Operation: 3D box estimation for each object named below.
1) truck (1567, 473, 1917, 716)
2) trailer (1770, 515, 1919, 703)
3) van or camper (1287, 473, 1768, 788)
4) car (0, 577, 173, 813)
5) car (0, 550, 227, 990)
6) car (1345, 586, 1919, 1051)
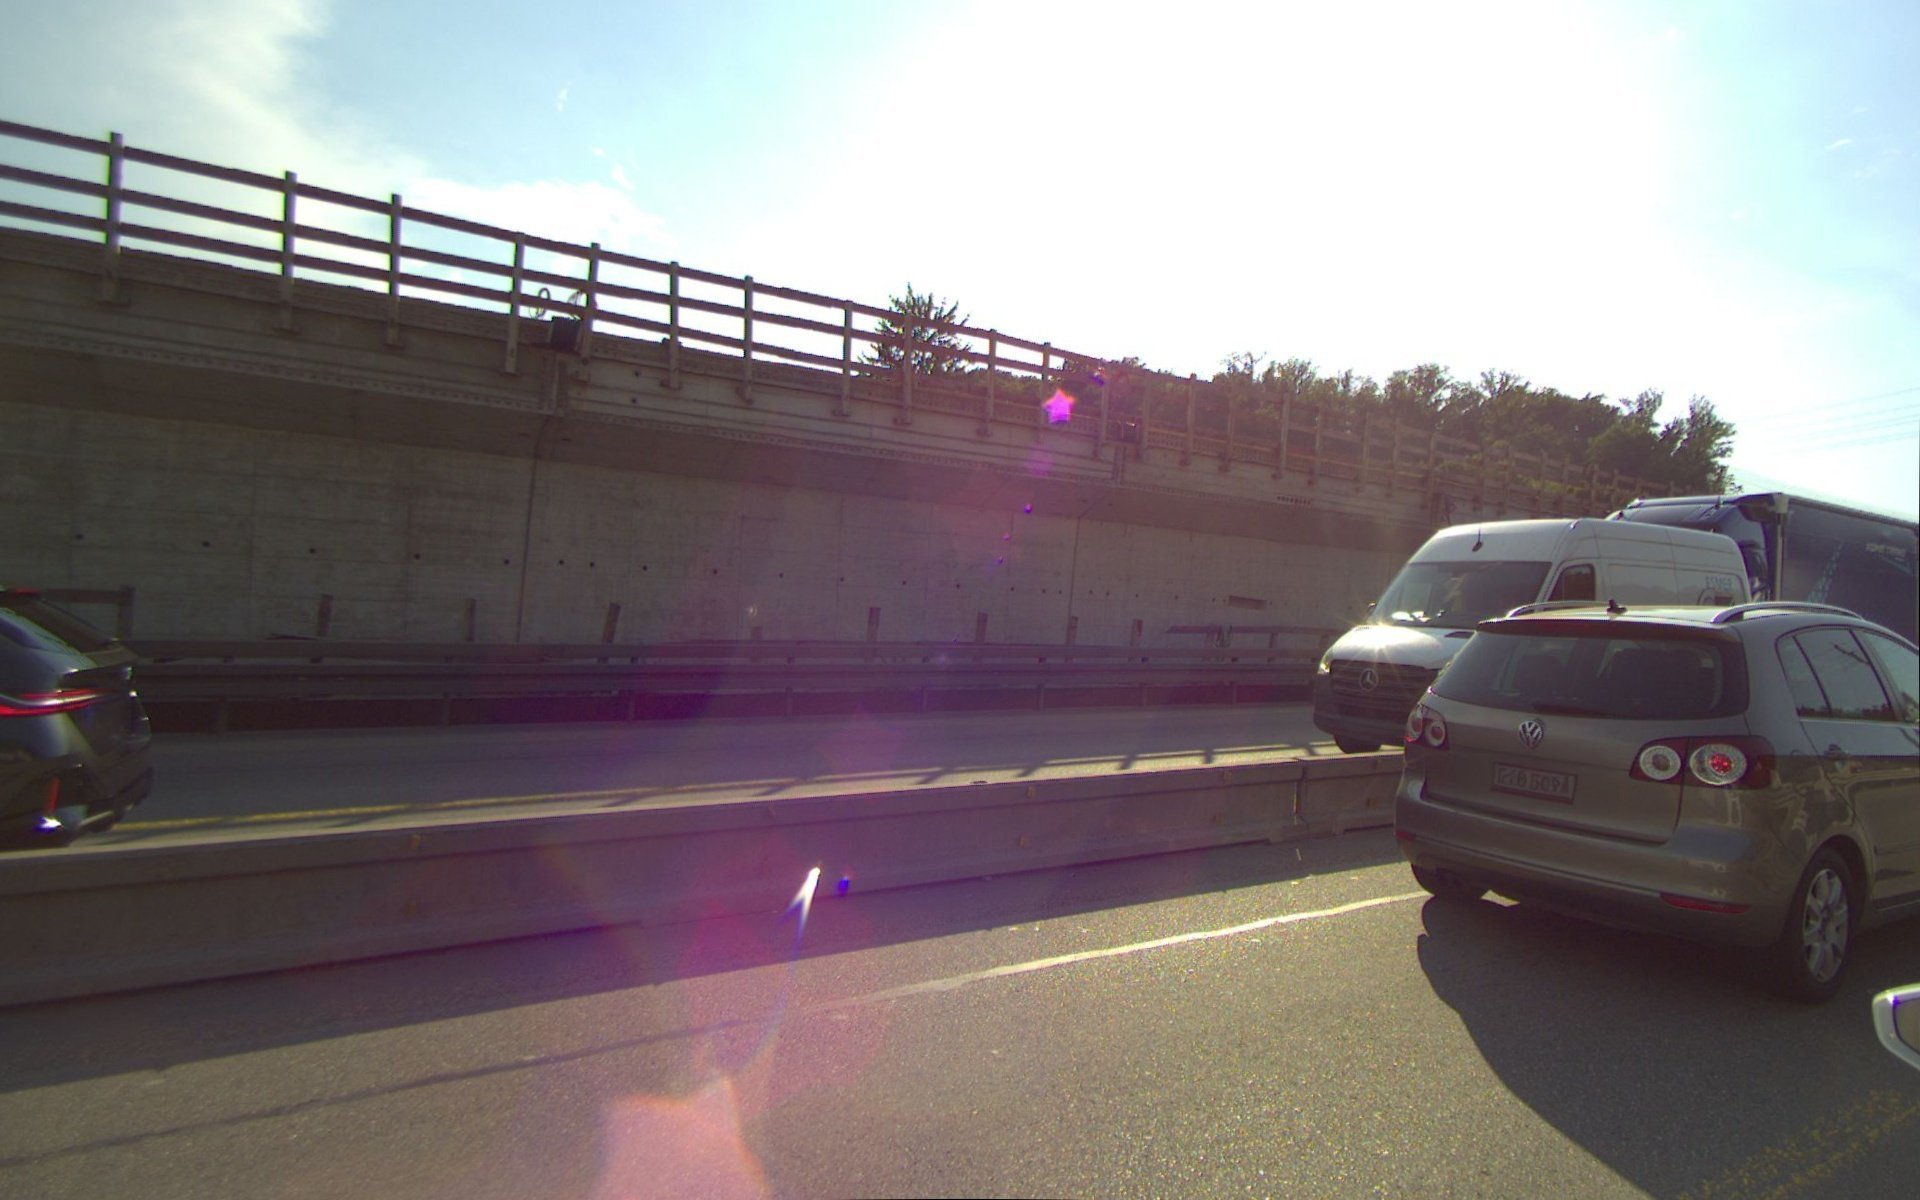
[{"bbox_3d":[16.505,0.041,20.876,9.521,4.167,2.610,2,-1,-32],"label":"truck"},{"bbox_3d":[24.492,0.347,26.007,9.522,4.167,2.591,2,-1,-33],"label":"trailer"},{"bbox_3d":[6.452,0.353,11.130,5.888,2.742,1.983,2,-1,-31],"label":"van or camper"},{"bbox_3d":[-7.960,0.520,6.012,4.844,1.440,1.962,2,-1,-31],"label":"car"},{"bbox_3d":[-5.756,0.536,3.602,4.813,1.615,1.827,3,2,-31],"label":"car"},{"bbox_3d":[4.143,0.795,5.286,4.222,1.610,1.672,1,0,-30],"label":"car"}]
